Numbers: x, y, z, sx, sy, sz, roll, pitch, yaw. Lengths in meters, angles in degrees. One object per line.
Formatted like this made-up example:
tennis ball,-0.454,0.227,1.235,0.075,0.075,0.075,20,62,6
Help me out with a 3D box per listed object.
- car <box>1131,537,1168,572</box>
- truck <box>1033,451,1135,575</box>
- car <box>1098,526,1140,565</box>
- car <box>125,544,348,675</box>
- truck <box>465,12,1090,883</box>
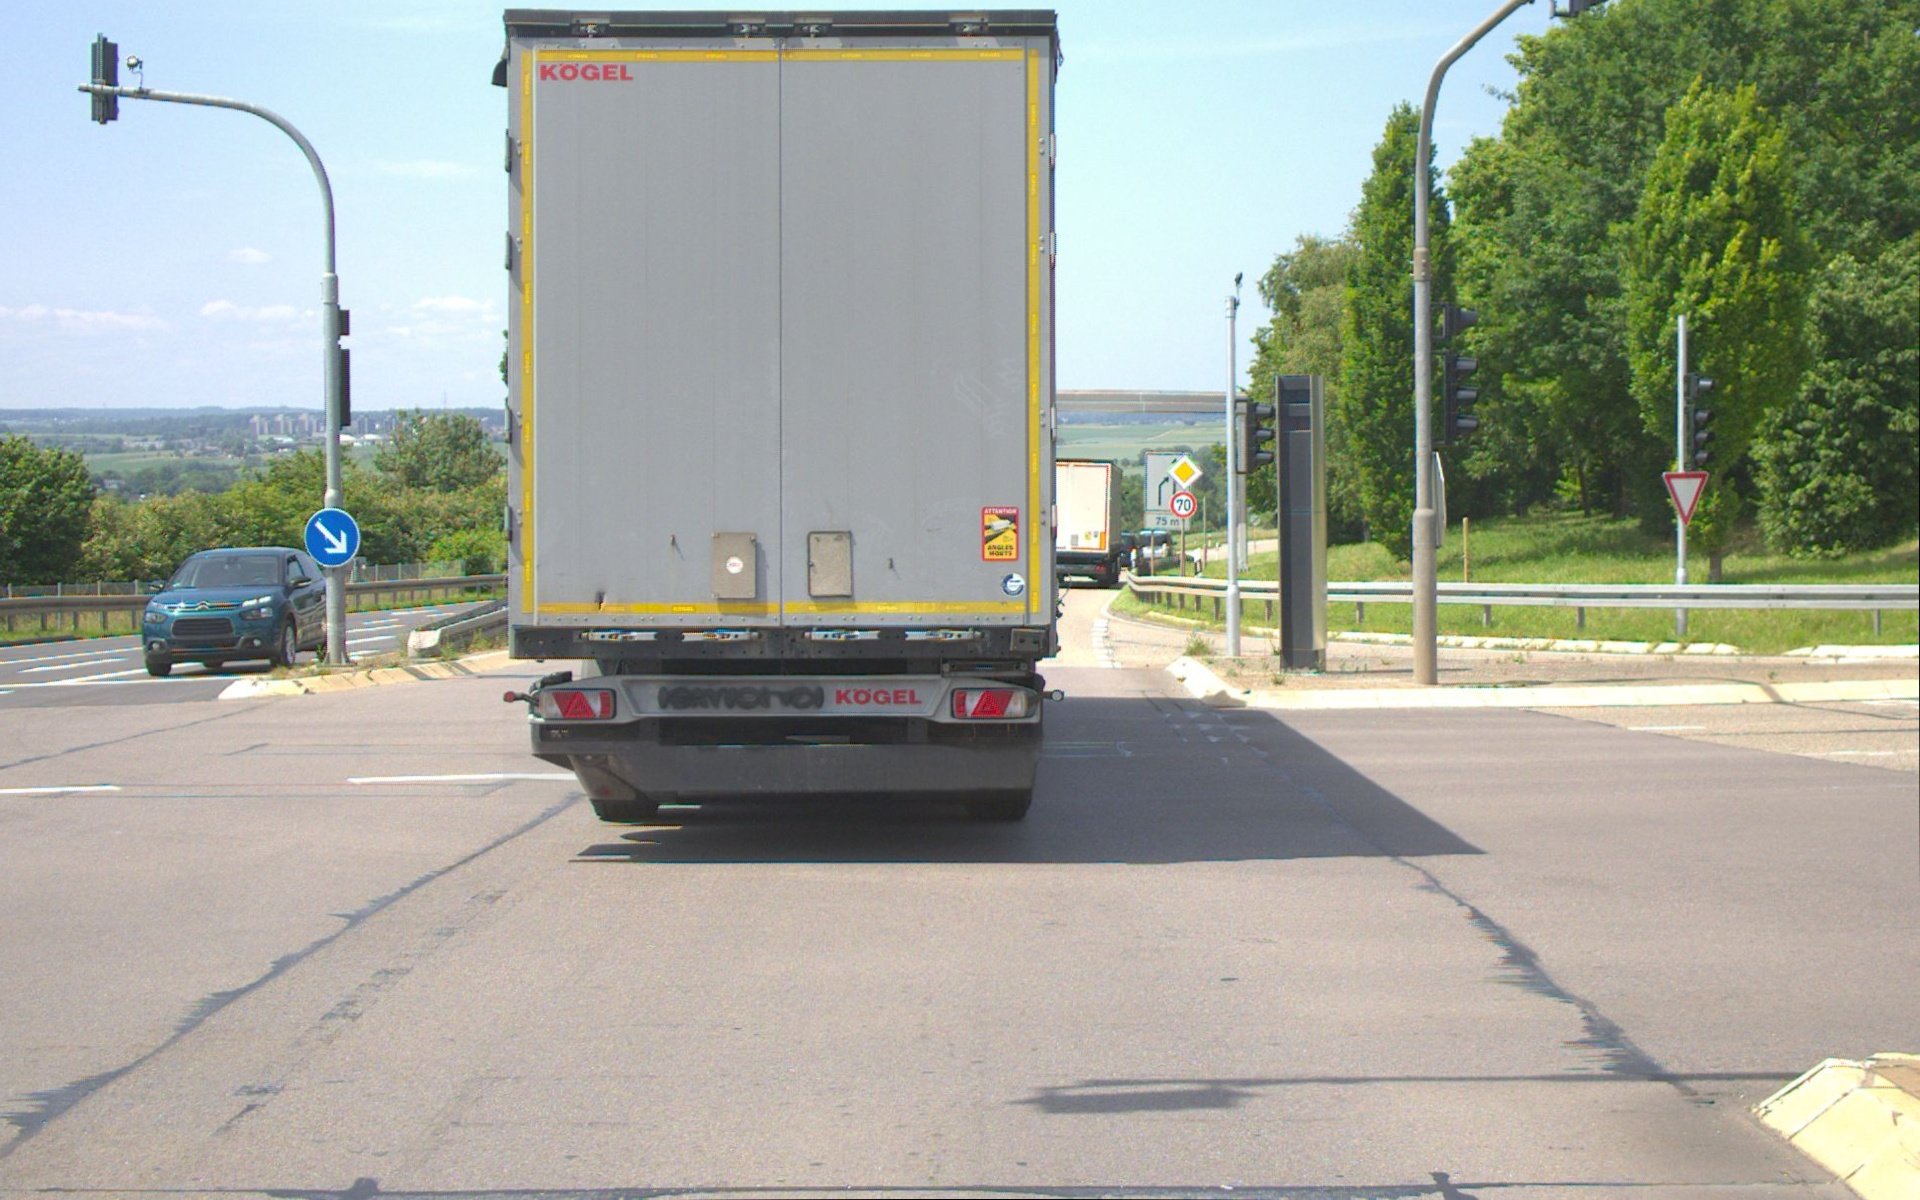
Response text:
car,9.530,-2.266,172.723,1.786,1.682,3.999,1,0,4
truck,4.084,-2.725,111.198,2.656,3.752,10.160,1,0,5
car,7.140,-2.439,154.183,1.786,1.682,3.999,1,0,4
car,-8.753,0.076,41.912,1.755,1.464,4.196,-1,1,1
truck,-1.150,-0.780,21.240,2.799,3.916,11.343,0,1,-3
